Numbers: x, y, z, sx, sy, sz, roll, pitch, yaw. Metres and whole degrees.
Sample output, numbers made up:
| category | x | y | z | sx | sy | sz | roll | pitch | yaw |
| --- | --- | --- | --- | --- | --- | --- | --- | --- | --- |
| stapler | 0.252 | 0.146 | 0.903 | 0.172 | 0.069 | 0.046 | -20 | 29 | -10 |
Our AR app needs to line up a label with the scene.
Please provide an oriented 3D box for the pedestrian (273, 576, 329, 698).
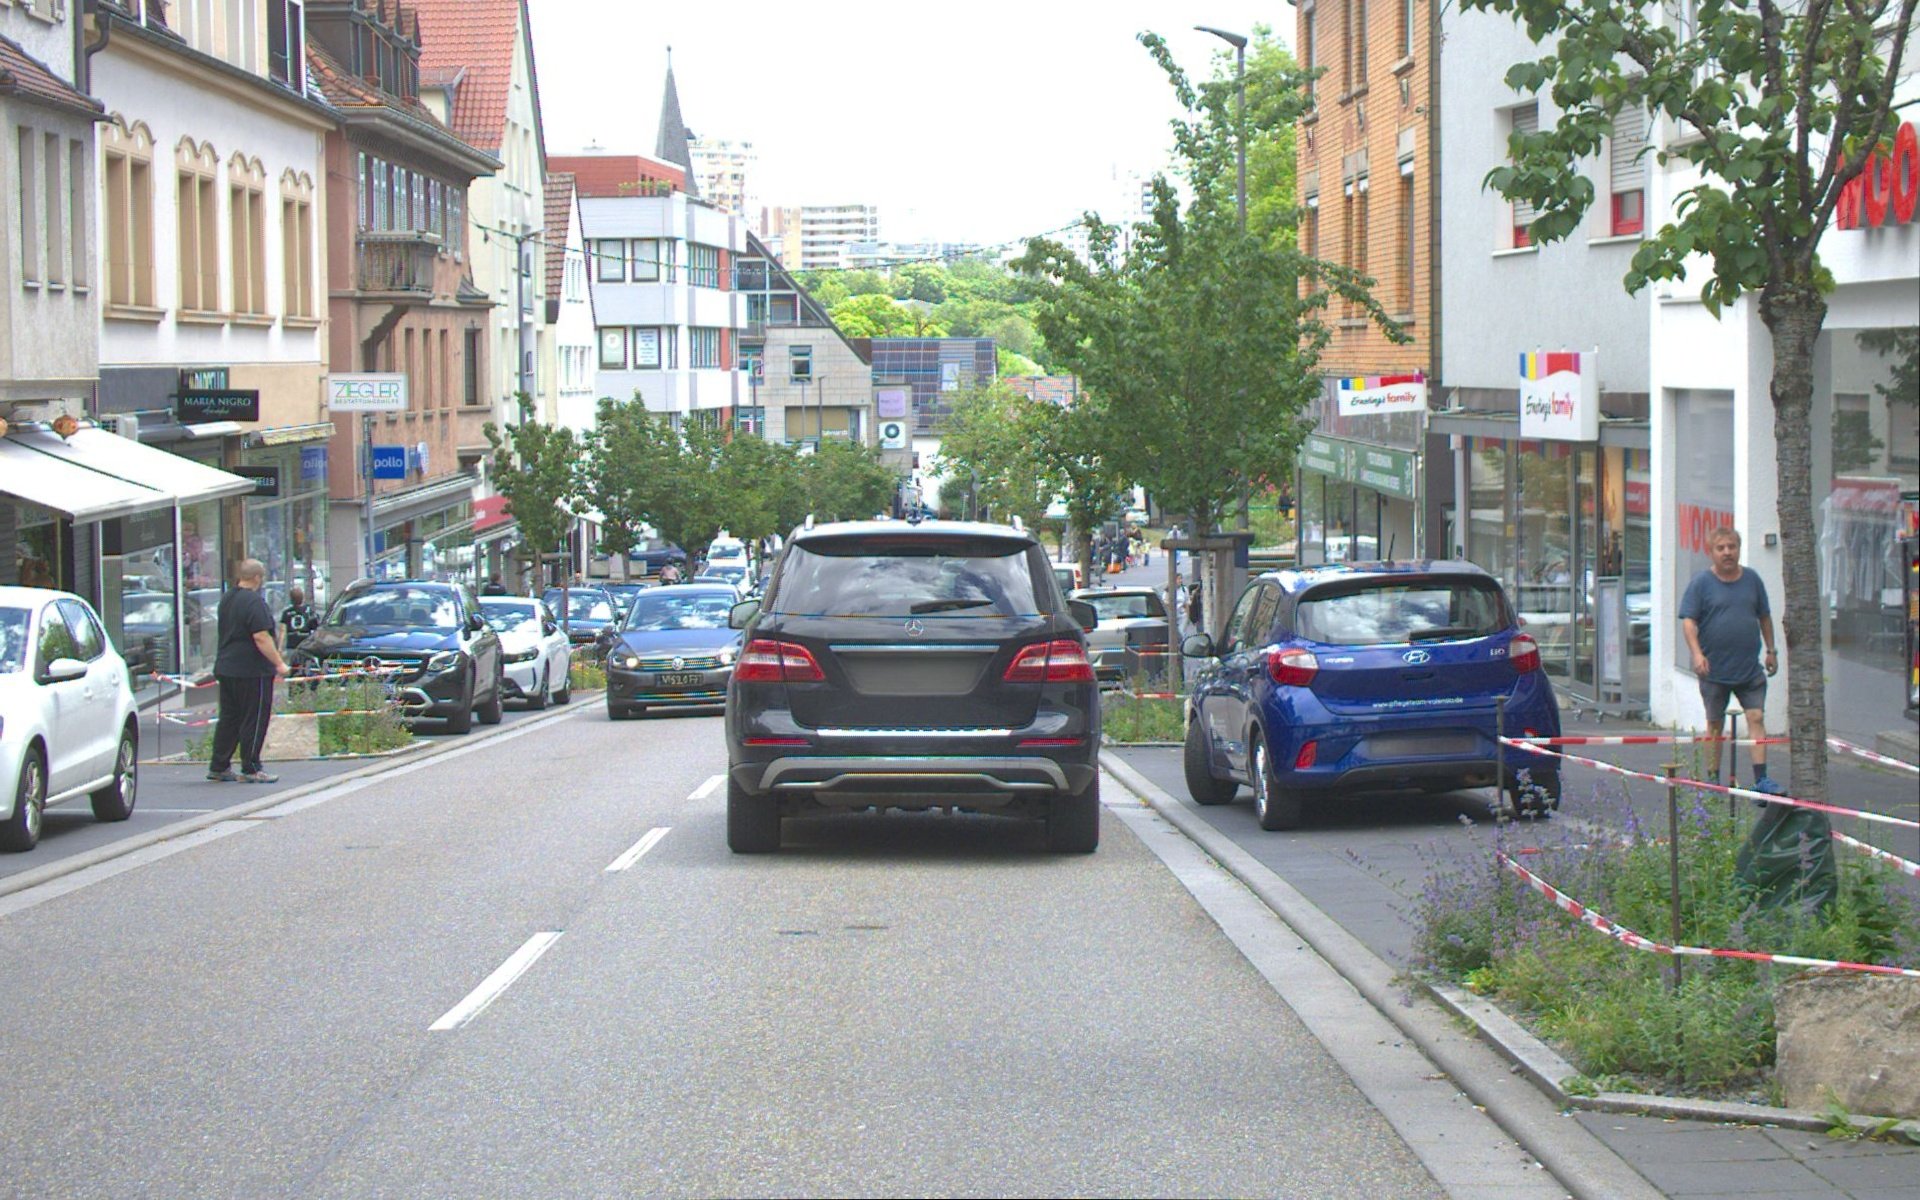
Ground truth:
| category | x | y | z | sx | sy | sz | roll | pitch | yaw |
| --- | --- | --- | --- | --- | --- | --- | --- | --- | --- |
| pedestrian | -8.649 | 0.481 | 45.124 | 0.547 | 1.570 | 0.863 | -1 | 1 | -2 |

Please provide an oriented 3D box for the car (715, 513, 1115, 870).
| category | x | y | z | sx | sy | sz | roll | pitch | yaw |
| --- | --- | --- | --- | --- | --- | --- | --- | --- | --- |
| car | -0.239 | 0.397 | 18.891 | 1.943 | 1.734 | 4.179 | 0 | 1 | 0 |

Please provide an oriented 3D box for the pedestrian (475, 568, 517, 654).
| category | x | y | z | sx | sy | sz | roll | pitch | yaw |
| --- | --- | --- | --- | --- | --- | --- | --- | --- | --- |
| pedestrian | -9.024 | 0.216 | 66.929 | 0.727 | 1.662 | 0.720 | 0 | 0 | -2 |

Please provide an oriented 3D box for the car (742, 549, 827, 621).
| category | x | y | z | sx | sy | sz | roll | pitch | yaw |
| --- | --- | --- | --- | --- | --- | --- | --- | --- | --- |
| car | -4.297 | -0.395 | 84.542 | 1.992 | 1.712 | 4.447 | 0 | 1 | -2 |

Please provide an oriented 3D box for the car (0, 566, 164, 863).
| category | x | y | z | sx | sy | sz | roll | pitch | yaw |
| --- | --- | --- | --- | --- | --- | --- | --- | --- | --- |
| car | -6.097 | 0.573 | 20.243 | 1.926 | 1.506 | 4.262 | 1 | 1 | -2 |

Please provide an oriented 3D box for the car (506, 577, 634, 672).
| category | x | y | z | sx | sy | sz | roll | pitch | yaw |
| --- | --- | --- | --- | --- | --- | --- | --- | --- | --- |
| car | -6.614 | 0.383 | 58.636 | 1.926 | 1.491 | 4.263 | -1 | 1 | -4 |

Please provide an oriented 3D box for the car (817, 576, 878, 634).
| category | x | y | z | sx | sy | sz | roll | pitch | yaw |
| --- | --- | --- | --- | --- | --- | --- | --- | --- | --- |
| car | -3.455 | 0.136 | 105.640 | 1.764 | 1.611 | 4.033 | -3 | 1 | -2 |

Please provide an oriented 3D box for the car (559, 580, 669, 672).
| category | x | y | z | sx | sy | sz | roll | pitch | yaw |
| --- | --- | --- | --- | --- | --- | --- | --- | --- | --- |
| car | -6.620 | 0.475 | 66.137 | 1.926 | 1.590 | 4.459 | 2 | 1 | -4 |

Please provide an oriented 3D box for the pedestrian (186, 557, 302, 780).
| category | x | y | z | sx | sy | sz | roll | pitch | yaw |
| --- | --- | --- | --- | --- | --- | --- | --- | --- | --- |
| pedestrian | -5.442 | 0.510 | 26.167 | 0.737 | 1.666 | 0.863 | 0 | 0 | -3 |

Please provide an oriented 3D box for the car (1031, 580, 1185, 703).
| category | x | y | z | sx | sy | sz | roll | pitch | yaw |
| --- | --- | --- | --- | --- | --- | --- | --- | --- | --- |
| car | 1.992 | 0.529 | 47.307 | 1.748 | 1.460 | 4.075 | -4 | 1 | -2 |

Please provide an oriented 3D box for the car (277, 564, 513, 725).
| category | x | y | z | sx | sy | sz | roll | pitch | yaw |
| --- | --- | --- | --- | --- | --- | --- | --- | --- | --- |
| car | -6.076 | 0.451 | 37.435 | 1.926 | 1.616 | 4.640 | 1 | 0 | -2 |

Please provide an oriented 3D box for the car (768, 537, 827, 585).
| category | x | y | z | sx | sy | sz | roll | pitch | yaw |
| --- | --- | --- | --- | --- | --- | --- | --- | --- | --- |
| car | -5.812 | -1.414 | 123.552 | 1.926 | 1.623 | 4.262 | 2 | 1 | -1 |

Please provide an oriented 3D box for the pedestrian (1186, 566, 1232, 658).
| category | x | y | z | sx | sy | sz | roll | pitch | yaw |
| --- | --- | --- | --- | --- | --- | --- | --- | --- | --- |
| pedestrian | 4.465 | 0.212 | 61.724 | 0.671 | 1.627 | 0.670 | -3 | 0 | -3 |

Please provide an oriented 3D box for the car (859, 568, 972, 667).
| category | x | y | z | sx | sy | sz | roll | pitch | yaw |
| --- | --- | --- | --- | --- | --- | --- | --- | --- | --- |
| car | -0.801 | 0.286 | 62.269 | 1.926 | 1.623 | 4.262 | 2 | 1 | -1 |

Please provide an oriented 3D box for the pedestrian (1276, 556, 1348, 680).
| category | x | y | z | sx | sy | sz | roll | pitch | yaw |
| --- | --- | --- | --- | --- | --- | --- | --- | --- | --- |
| pedestrian | 4.626 | 0.232 | 45.193 | 0.735 | 1.579 | 1.000 | -3 | 0 | -2 |

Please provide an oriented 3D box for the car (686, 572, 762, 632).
| category | x | y | z | sx | sy | sz | roll | pitch | yaw |
| --- | --- | --- | --- | --- | --- | --- | --- | --- | --- |
| car | -6.785 | 0.040 | 99.264 | 1.926 | 1.623 | 4.262 | 0 | 1 | -1 |

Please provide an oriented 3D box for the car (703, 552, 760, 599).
| category | x | y | z | sx | sy | sz | roll | pitch | yaw |
| --- | --- | --- | --- | --- | --- | --- | --- | --- | --- |
| car | -8.397 | -0.910 | 126.519 | 1.926 | 1.623 | 4.415 | 2 | 1 | -2 |

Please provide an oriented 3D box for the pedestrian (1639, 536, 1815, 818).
| category | x | y | z | sx | sy | sz | roll | pitch | yaw |
| --- | --- | --- | --- | --- | --- | --- | --- | --- | --- |
| pedestrian | 4.347 | 0.421 | 19.520 | 0.756 | 1.555 | 0.818 | -1 | 1 | -3 |

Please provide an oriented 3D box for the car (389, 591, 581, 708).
| category | x | y | z | sx | sy | sz | roll | pitch | yaw |
| --- | --- | --- | --- | --- | --- | --- | --- | --- | --- |
| car | -6.183 | 0.615 | 45.170 | 1.926 | 1.425 | 4.262 | 0 | 1 | 0 |

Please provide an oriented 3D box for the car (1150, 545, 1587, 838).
| category | x | y | z | sx | sy | sz | roll | pitch | yaw |
| --- | --- | --- | --- | --- | --- | --- | --- | --- | --- |
| car | 2.327 | 0.513 | 20.541 | 1.748 | 1.492 | 3.800 | -3 | 0 | -6 |

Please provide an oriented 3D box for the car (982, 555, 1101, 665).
| category | x | y | z | sx | sy | sz | roll | pitch | yaw |
| --- | --- | --- | --- | --- | --- | --- | --- | --- | --- |
| car | 1.495 | 0.155 | 64.837 | 1.938 | 1.885 | 4.707 | -2 | 1 | -1 |

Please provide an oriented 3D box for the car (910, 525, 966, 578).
| category | x | y | z | sx | sy | sz | roll | pitch | yaw |
| --- | --- | --- | --- | --- | --- | --- | --- | --- | --- |
| car | -0.974 | -2.212 | 155.996 | 2.174 | 2.356 | 4.622 | -1 | 1 | 3 |

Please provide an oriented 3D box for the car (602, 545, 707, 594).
| category | x | y | z | sx | sy | sz | roll | pitch | yaw |
| --- | --- | --- | --- | --- | --- | --- | --- | --- | --- |
| car | -11.881 | -1.190 | 133.852 | 3.986 | 1.744 | 2.000 | -3 | 0 | -4 |

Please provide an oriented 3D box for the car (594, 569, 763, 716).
| category | x | y | z | sx | sy | sz | roll | pitch | yaw |
| --- | --- | --- | --- | --- | --- | --- | --- | --- | --- |
| car | -3.350 | 0.488 | 41.597 | 1.819 | 1.612 | 4.136 | -2 | 0 | -2 |

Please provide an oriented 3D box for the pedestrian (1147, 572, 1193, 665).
| category | x | y | z | sx | sy | sz | roll | pitch | yaw |
| --- | --- | --- | --- | --- | --- | --- | --- | --- | --- |
| pedestrian | 3.751 | 0.328 | 61.485 | 0.671 | 1.627 | 0.670 | -3 | 0 | -3 |

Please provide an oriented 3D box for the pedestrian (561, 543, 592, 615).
| category | x | y | z | sx | sy | sz | roll | pitch | yaw |
| --- | --- | --- | --- | --- | --- | --- | --- | --- | --- |
| pedestrian | -8.937 | -0.484 | 80.169 | 0.641 | 1.662 | 0.720 | 0 | 0 | -2 |
